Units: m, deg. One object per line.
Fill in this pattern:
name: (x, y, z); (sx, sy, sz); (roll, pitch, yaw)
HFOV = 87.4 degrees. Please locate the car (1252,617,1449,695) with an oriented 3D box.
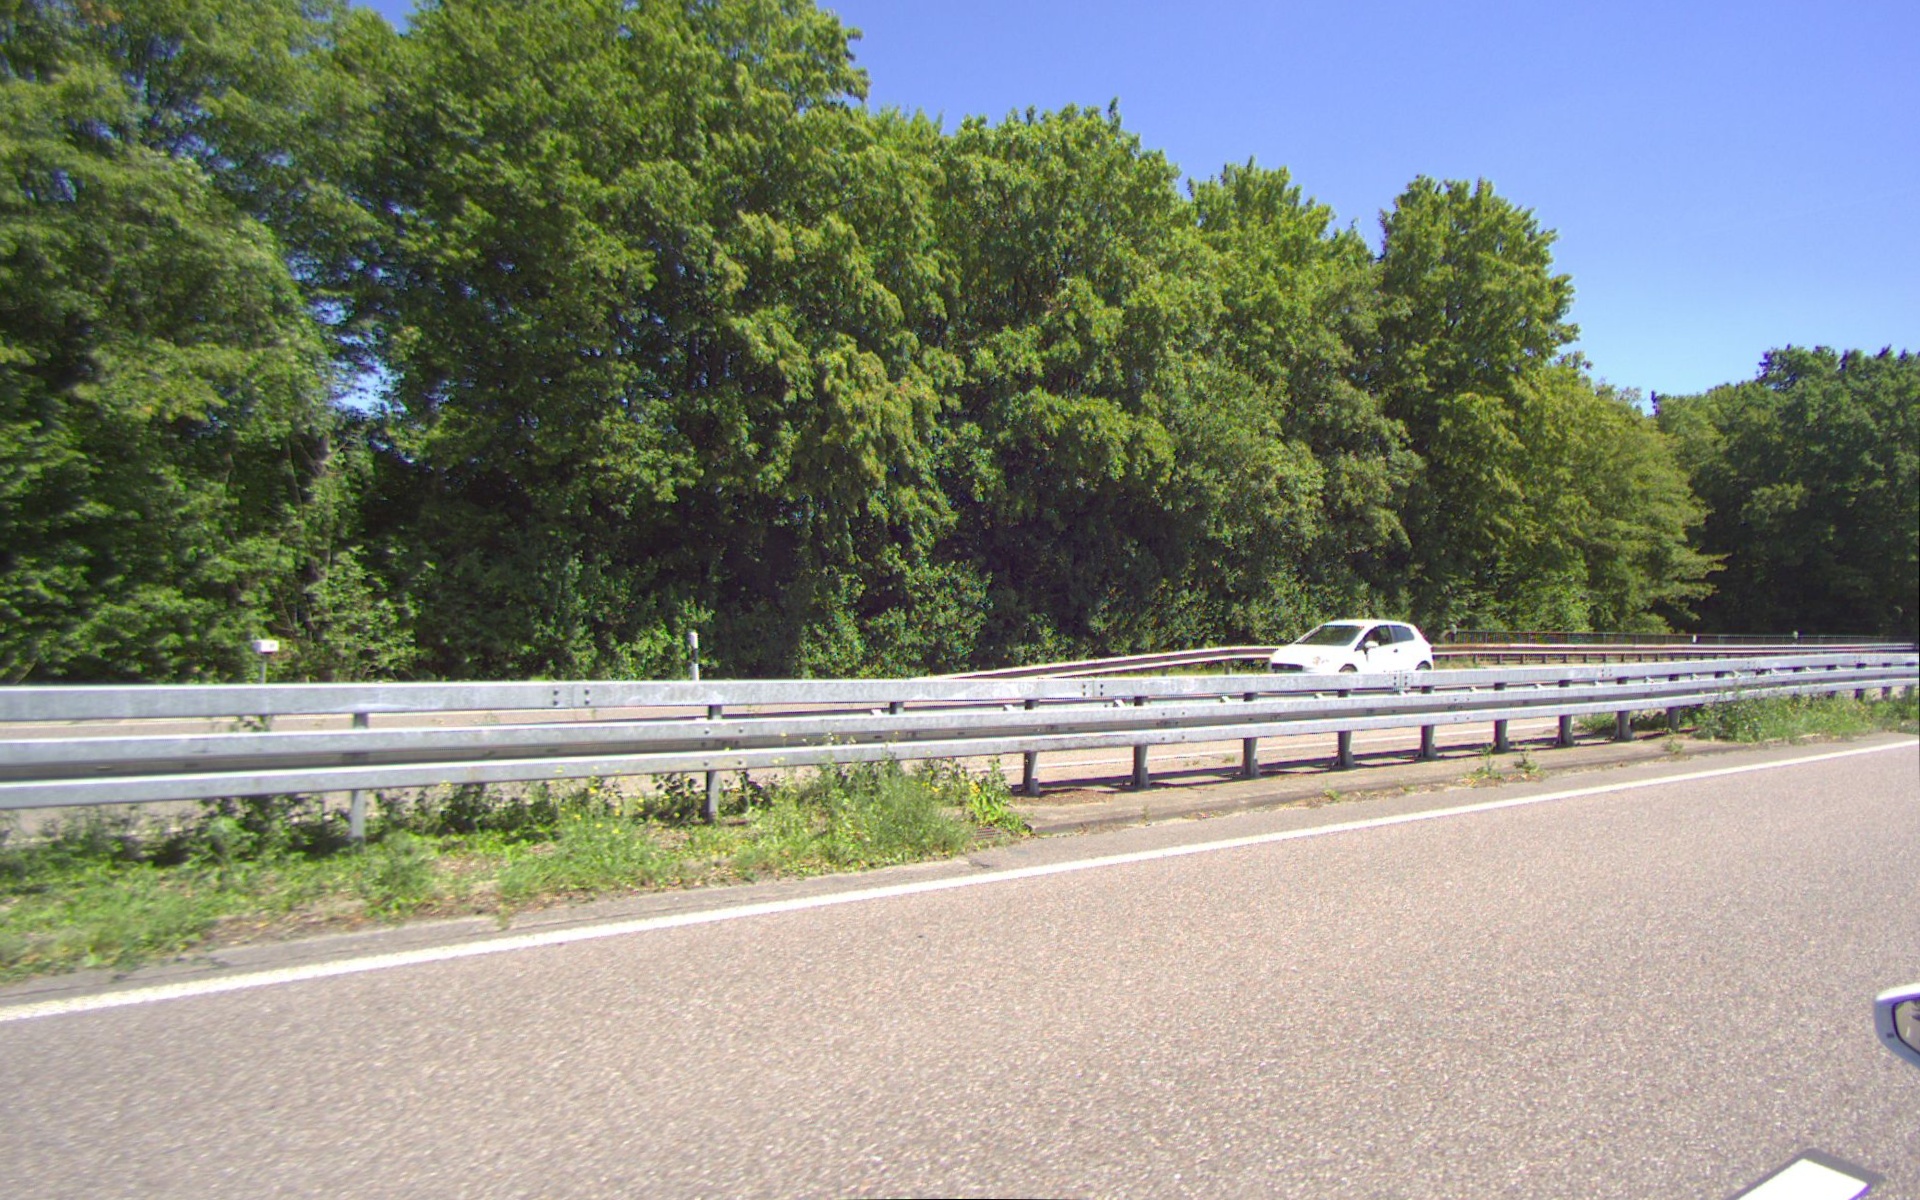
car: (8.156, 1.117, 20.866); (4.172, 1.466, 1.642); (1, -1, -32)
